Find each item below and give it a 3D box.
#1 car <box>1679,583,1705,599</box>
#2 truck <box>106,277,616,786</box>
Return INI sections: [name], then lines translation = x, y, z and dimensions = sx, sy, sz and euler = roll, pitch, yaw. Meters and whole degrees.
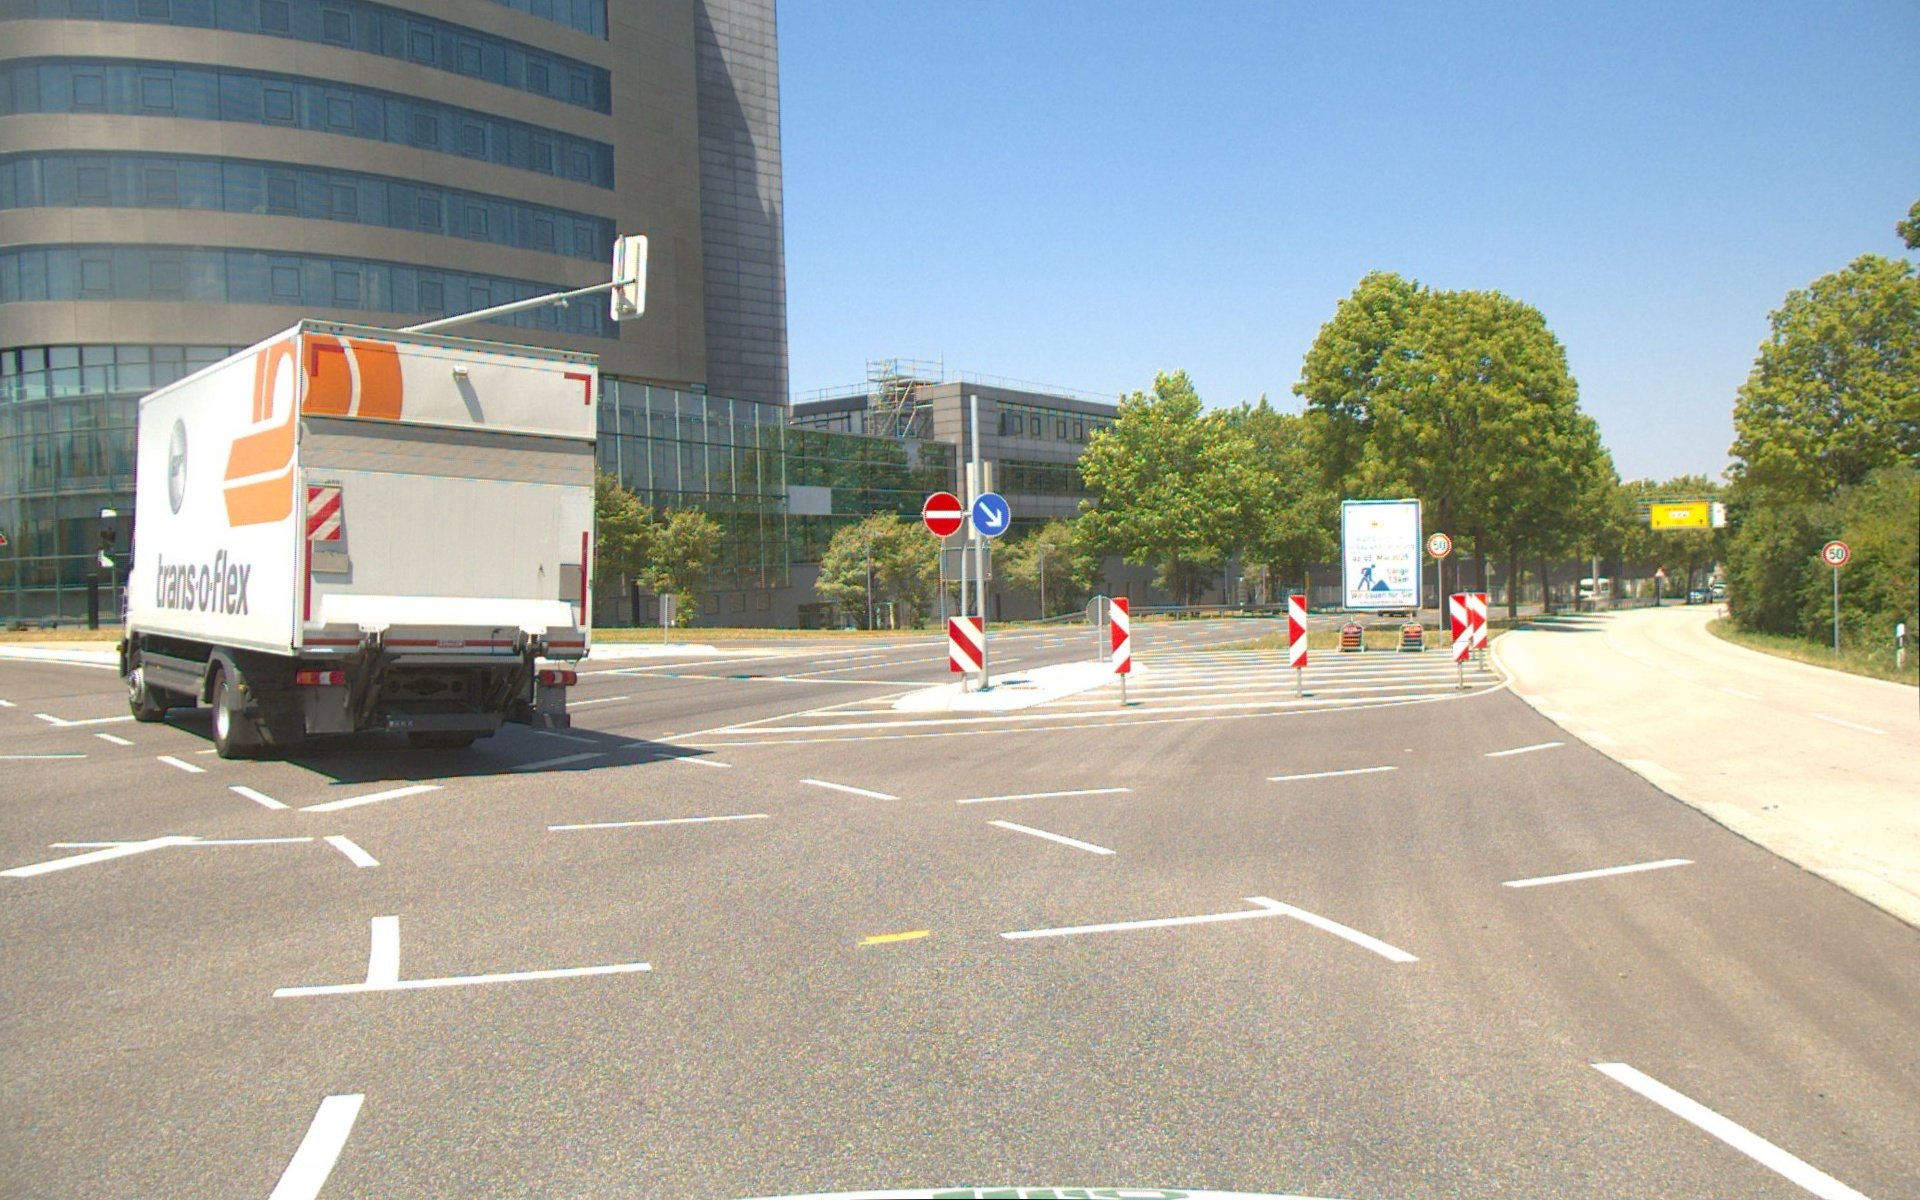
[car]
translation = 77.317, -0.976, 174.708
dimensions = 1.703, 1.691, 3.983
euler = 0, 0, 37
[truck]
translation = -6.741, -0.482, 17.367
dimensions = 2.746, 3.927, 9.254
euler = 1, -1, -35
